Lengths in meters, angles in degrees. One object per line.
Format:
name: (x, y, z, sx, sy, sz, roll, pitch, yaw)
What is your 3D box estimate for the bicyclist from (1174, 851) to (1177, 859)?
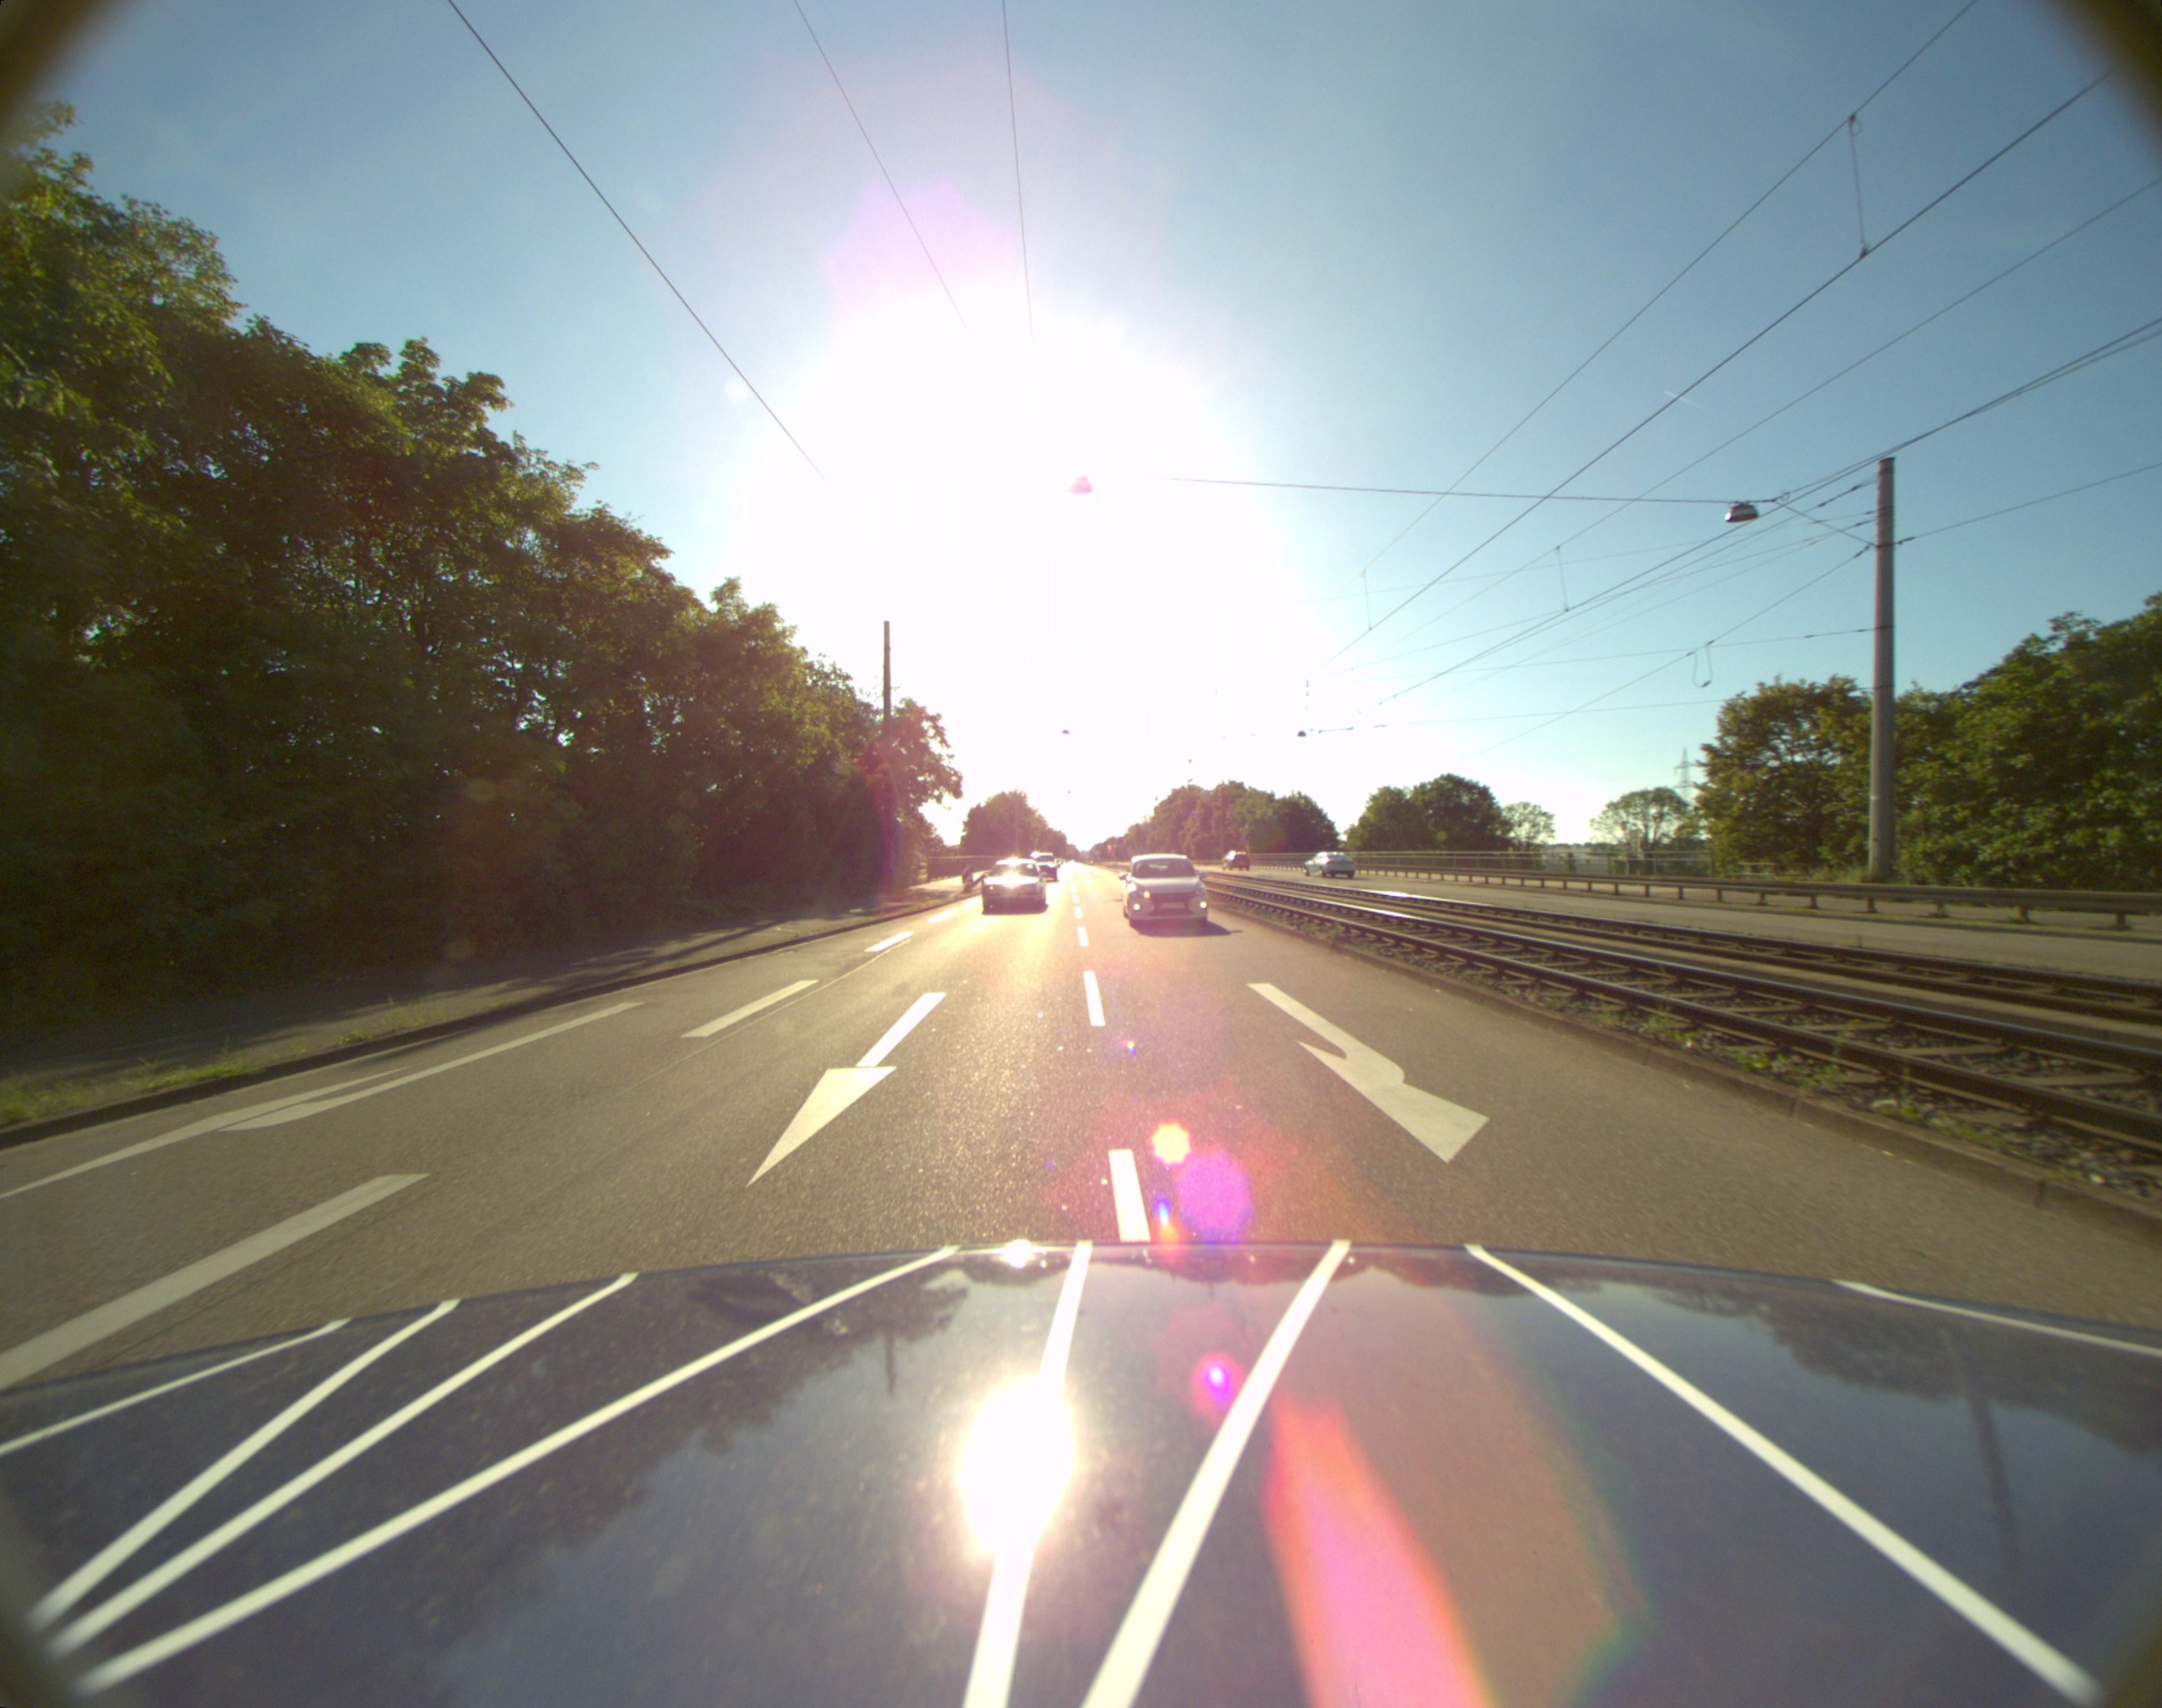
bicyclist: (19.207, 0.189, 154.808, 0.498, 1.741, 0.833, -2, 1, -1)

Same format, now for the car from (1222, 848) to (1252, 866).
car: (14.167, 0.217, 69.235, 1.713, 1.571, 4.799, 0, 1, -2)

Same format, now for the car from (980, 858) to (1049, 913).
car: (-1.952, 0.900, 23.239, 1.693, 1.409, 4.134, -2, 1, 0)

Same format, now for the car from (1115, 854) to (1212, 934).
car: (1.728, 0.795, 17.074, 1.709, 1.503, 3.862, -2, 1, 0)

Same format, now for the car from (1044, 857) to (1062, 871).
car: (-3.212, 1.147, 88.927, 1.905, 1.512, 3.956, -2, 1, 0)

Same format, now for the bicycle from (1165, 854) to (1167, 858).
bicycle: (19.208, 0.443, 171.150, 0.425, 0.958, 1.913, -2, 1, 5)

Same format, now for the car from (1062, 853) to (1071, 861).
car: (-3.108, 0.665, 162.849, 1.905, 1.512, 3.956, -2, 1, -1)

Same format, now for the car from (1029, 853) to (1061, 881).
car: (-2.142, 0.775, 45.701, 1.709, 1.512, 3.843, -2, 1, 0)

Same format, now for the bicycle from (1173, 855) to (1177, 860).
bicycle: (19.219, 0.739, 154.864, 0.505, 1.046, 1.727, -2, 1, -1)

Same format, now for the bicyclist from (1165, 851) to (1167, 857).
bicyclist: (19.211, 0.061, 171.196, 0.423, 1.421, 0.754, -2, 1, 5)

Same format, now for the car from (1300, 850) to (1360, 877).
car: (14.631, 0.519, 44.947, 1.759, 1.406, 4.876, 1, 1, -2)
